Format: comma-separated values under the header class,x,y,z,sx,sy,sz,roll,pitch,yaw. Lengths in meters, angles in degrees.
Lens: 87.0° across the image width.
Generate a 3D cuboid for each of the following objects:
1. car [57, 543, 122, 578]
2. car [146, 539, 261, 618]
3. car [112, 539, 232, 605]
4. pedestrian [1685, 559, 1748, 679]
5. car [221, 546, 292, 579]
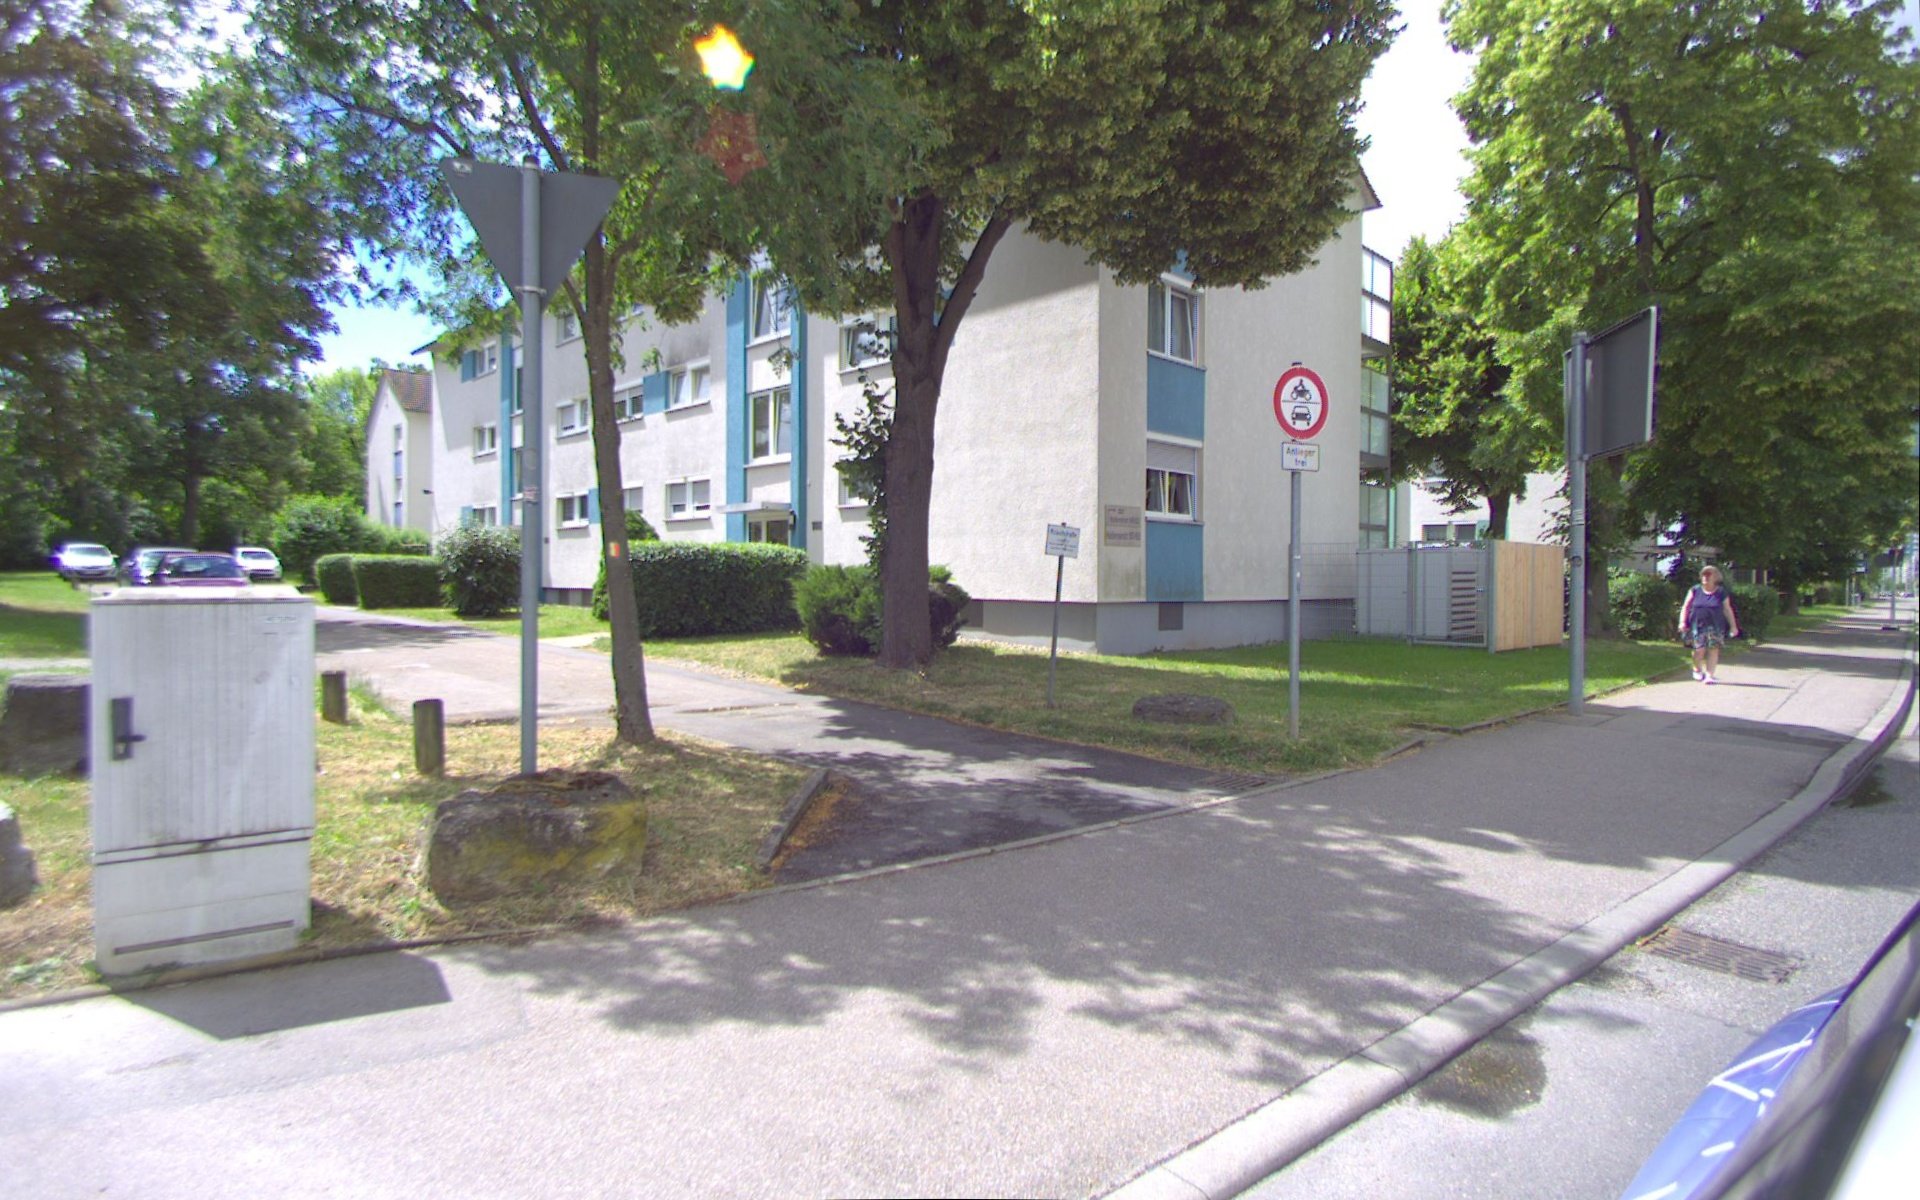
class,x,y,z,sx,sy,sz,roll,pitch,yaw
car,-36.094,-1.592,41.963,1.965,1.329,3.993,-1,1,-41
car,-16.040,-0.424,21.389,1.700,1.521,3.876,-1,1,-40
car,-19.912,-0.730,25.520,3.989,1.522,1.888,3,2,45
pedestrian,11.033,0.250,14.753,0.681,1.681,0.820,2,1,39
car,-32.005,-1.671,45.994,3.987,1.329,1.968,0,1,44
